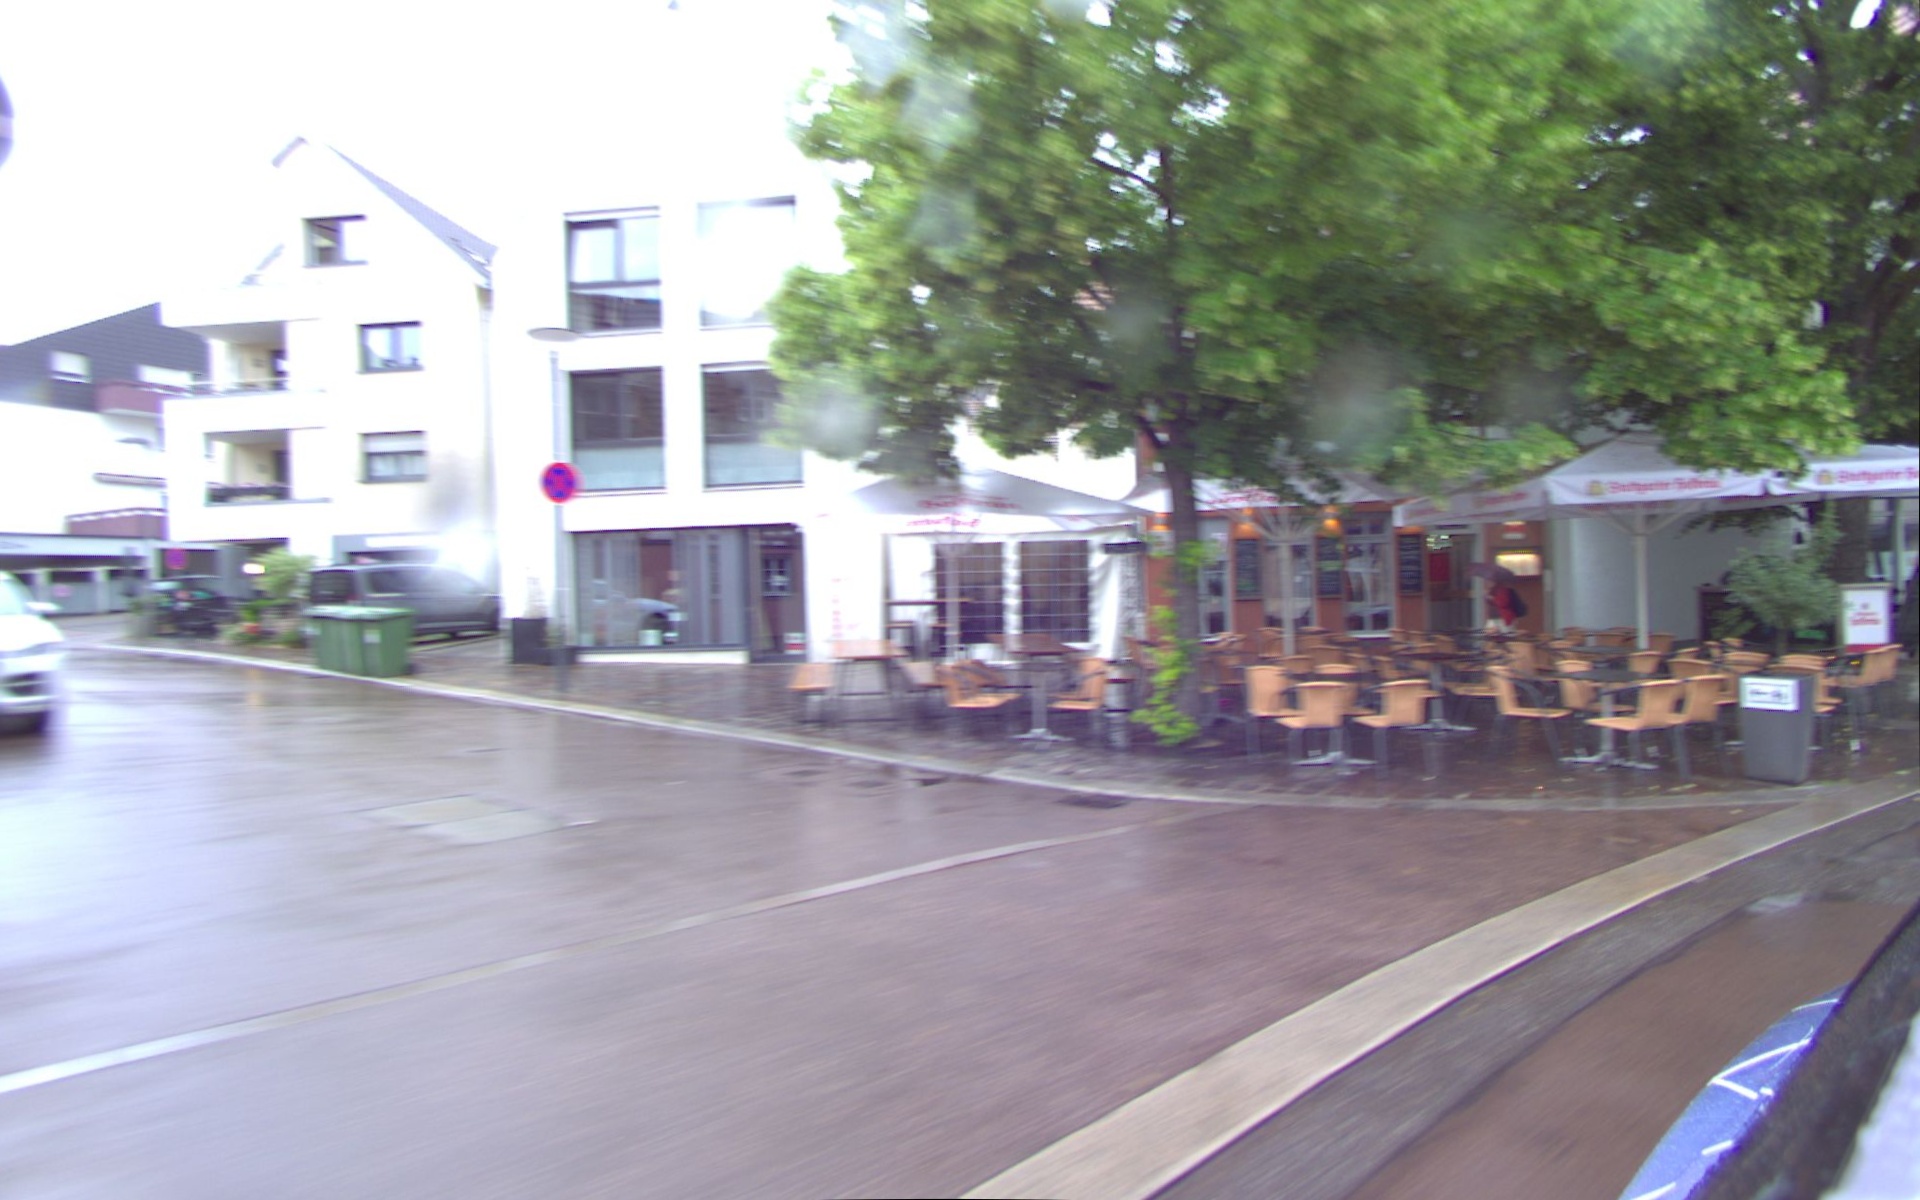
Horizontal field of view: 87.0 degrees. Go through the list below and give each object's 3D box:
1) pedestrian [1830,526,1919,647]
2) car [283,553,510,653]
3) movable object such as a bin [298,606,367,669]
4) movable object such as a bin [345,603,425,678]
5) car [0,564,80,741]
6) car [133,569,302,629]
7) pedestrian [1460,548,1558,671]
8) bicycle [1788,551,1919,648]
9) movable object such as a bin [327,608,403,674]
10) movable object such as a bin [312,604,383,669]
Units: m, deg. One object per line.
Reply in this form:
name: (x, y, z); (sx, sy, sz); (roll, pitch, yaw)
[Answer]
pedestrian: (13.696, -0.215, 14.969); (0.845, 1.719, 0.913); (-2, 2, 1)
car: (-12.373, -0.006, 22.542); (1.876, 1.866, 4.051); (-1, 4, 23)
movable object such as a bin: (-11.139, 0.652, 17.976); (0.694, 1.039, 0.845); (-2, 1, 41)
movable object such as a bin: (-9.307, 0.649, 16.387); (0.875, 1.124, 0.845); (-2, 1, 41)
car: (-10.958, 0.458, 10.699); (4.598, 1.654, 1.970); (1, 0, 42)
car: (-23.127, -0.069, 31.670); (1.745, 1.563, 3.861); (-1, 4, 23)
pedestrian: (8.168, 0.128, 15.088); (0.872, 1.734, 0.888); (-3, 1, -3)
bicycle: (13.734, -0.026, 14.972); (2.174, 1.367, 0.928); (-1, 2, 1)
movable object such as a bin: (-9.972, 0.677, 16.969); (0.826, 1.035, 0.845); (-2, 1, 41)
movable object such as a bin: (-10.572, 0.624, 17.480); (0.694, 1.039, 0.845); (-2, 1, 41)
